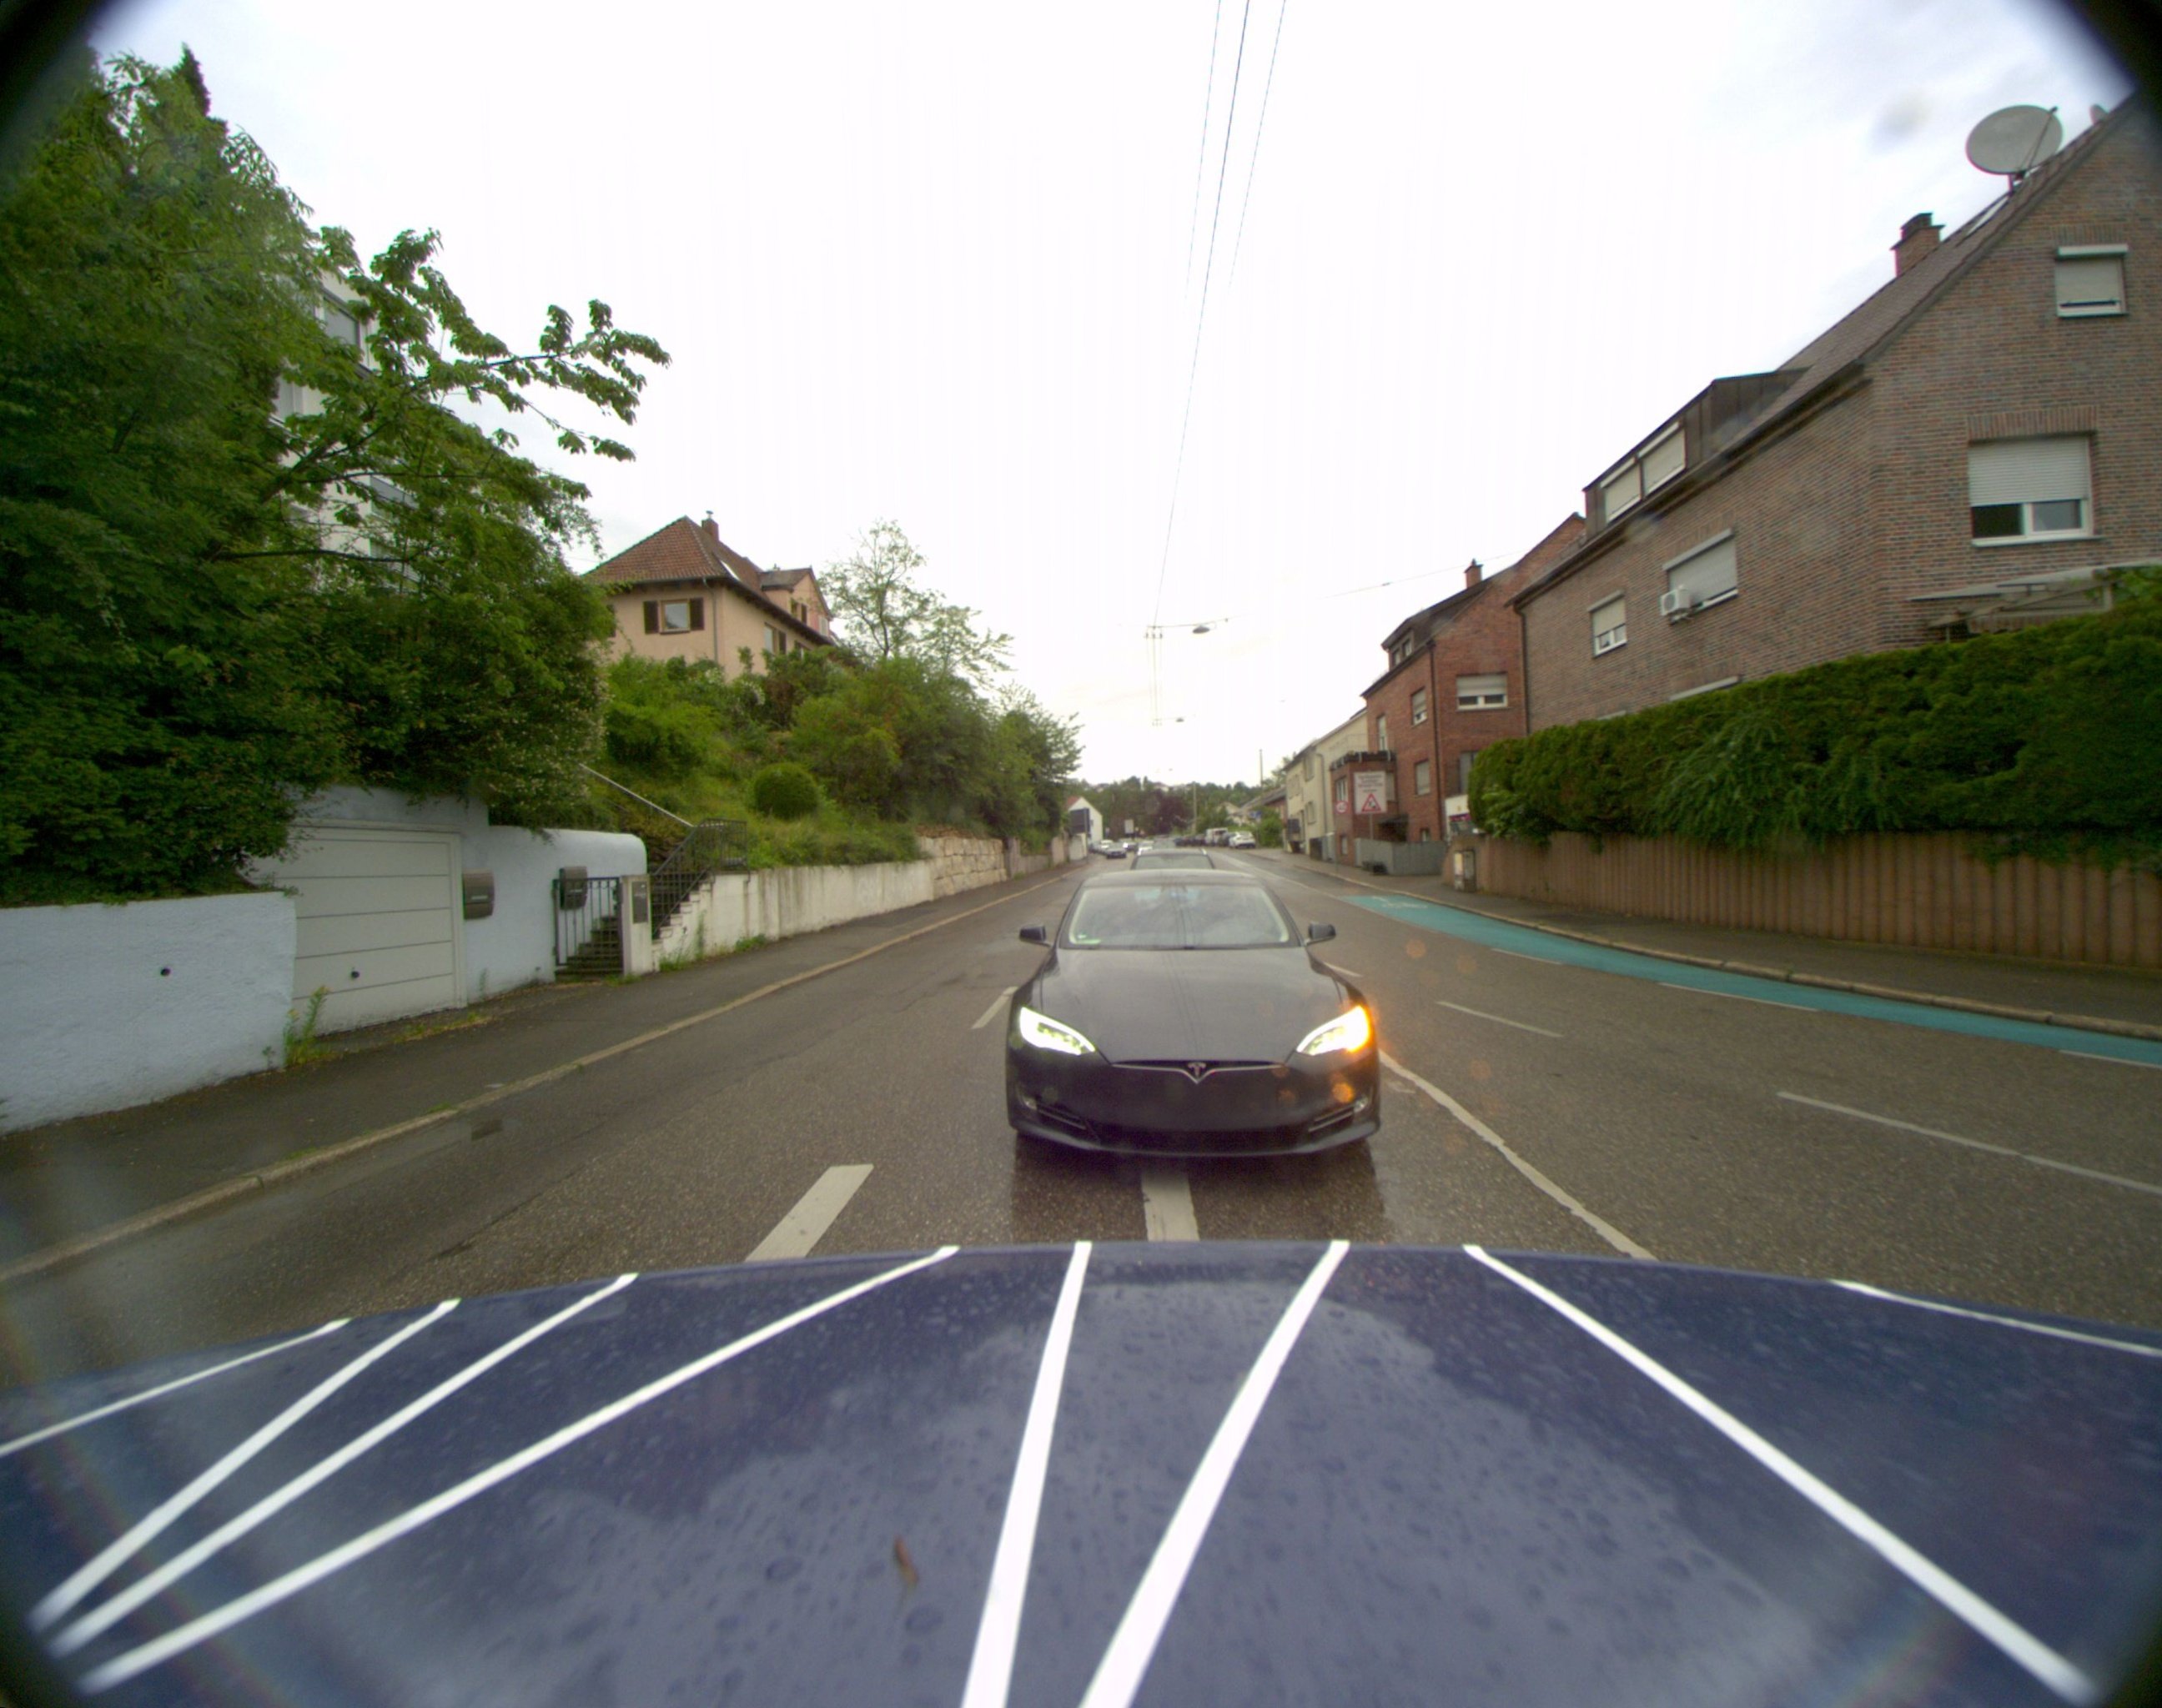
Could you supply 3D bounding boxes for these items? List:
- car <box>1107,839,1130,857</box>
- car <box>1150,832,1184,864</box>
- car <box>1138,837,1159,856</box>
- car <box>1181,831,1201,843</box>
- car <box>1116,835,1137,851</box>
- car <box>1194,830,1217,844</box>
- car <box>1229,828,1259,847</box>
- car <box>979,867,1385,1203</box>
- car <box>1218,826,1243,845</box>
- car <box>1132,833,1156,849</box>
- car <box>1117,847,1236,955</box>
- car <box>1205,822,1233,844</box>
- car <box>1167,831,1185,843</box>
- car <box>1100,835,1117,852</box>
[{"bbox_3d":[3.656,-0.584,73.268,2.002,1.596,4.360,-2,-1,4],"label":"car"},{"bbox_3d":[5.074,-0.313,45.254,1.816,1.720,4.002,-2,-1,4],"label":"car"},{"bbox_3d":[6.016,-0.655,67.753,1.737,1.493,3.883,-2,-1,4],"label":"car"},{"bbox_3d":[14.065,-2.191,97.456,1.654,1.388,3.859,-4,1,-4],"label":"car"},{"bbox_3d":[5.632,-1.354,94.550,2.000,1.875,3.997,-2,1,-6],"label":"car"},{"bbox_3d":[15.010,-1.999,91.517,1.654,1.482,4.009,-4,1,-6],"label":"car"},{"bbox_3d":[15.358,-1.560,71.971,1.946,1.557,4.263,-4,1,2],"label":"car"},{"bbox_3d":[0.615,0.908,5.582,1.870,1.407,4.000,-2,1,4],"label":"car"},{"bbox_3d":[15.726,-1.912,80.119,1.814,1.793,4.263,-4,1,2],"label":"car"},{"bbox_3d":[6.739,-1.392,81.391,1.999,1.615,3.998,-2,1,-3],"label":"car"},{"bbox_3d":[1.629,0.725,13.709,1.789,1.580,3.784,-2,1,4],"label":"car"},{"bbox_3d":[15.615,-2.342,86.149,2.257,2.273,4.546,-4,1,0],"label":"car"},{"bbox_3d":[12.808,-2.235,102.548,1.624,1.482,3.901,-4,1,-4],"label":"car"},{"bbox_3d":[3.189,-1.263,89.046,1.820,1.855,4.038,-2,2,-1],"label":"car"}]
